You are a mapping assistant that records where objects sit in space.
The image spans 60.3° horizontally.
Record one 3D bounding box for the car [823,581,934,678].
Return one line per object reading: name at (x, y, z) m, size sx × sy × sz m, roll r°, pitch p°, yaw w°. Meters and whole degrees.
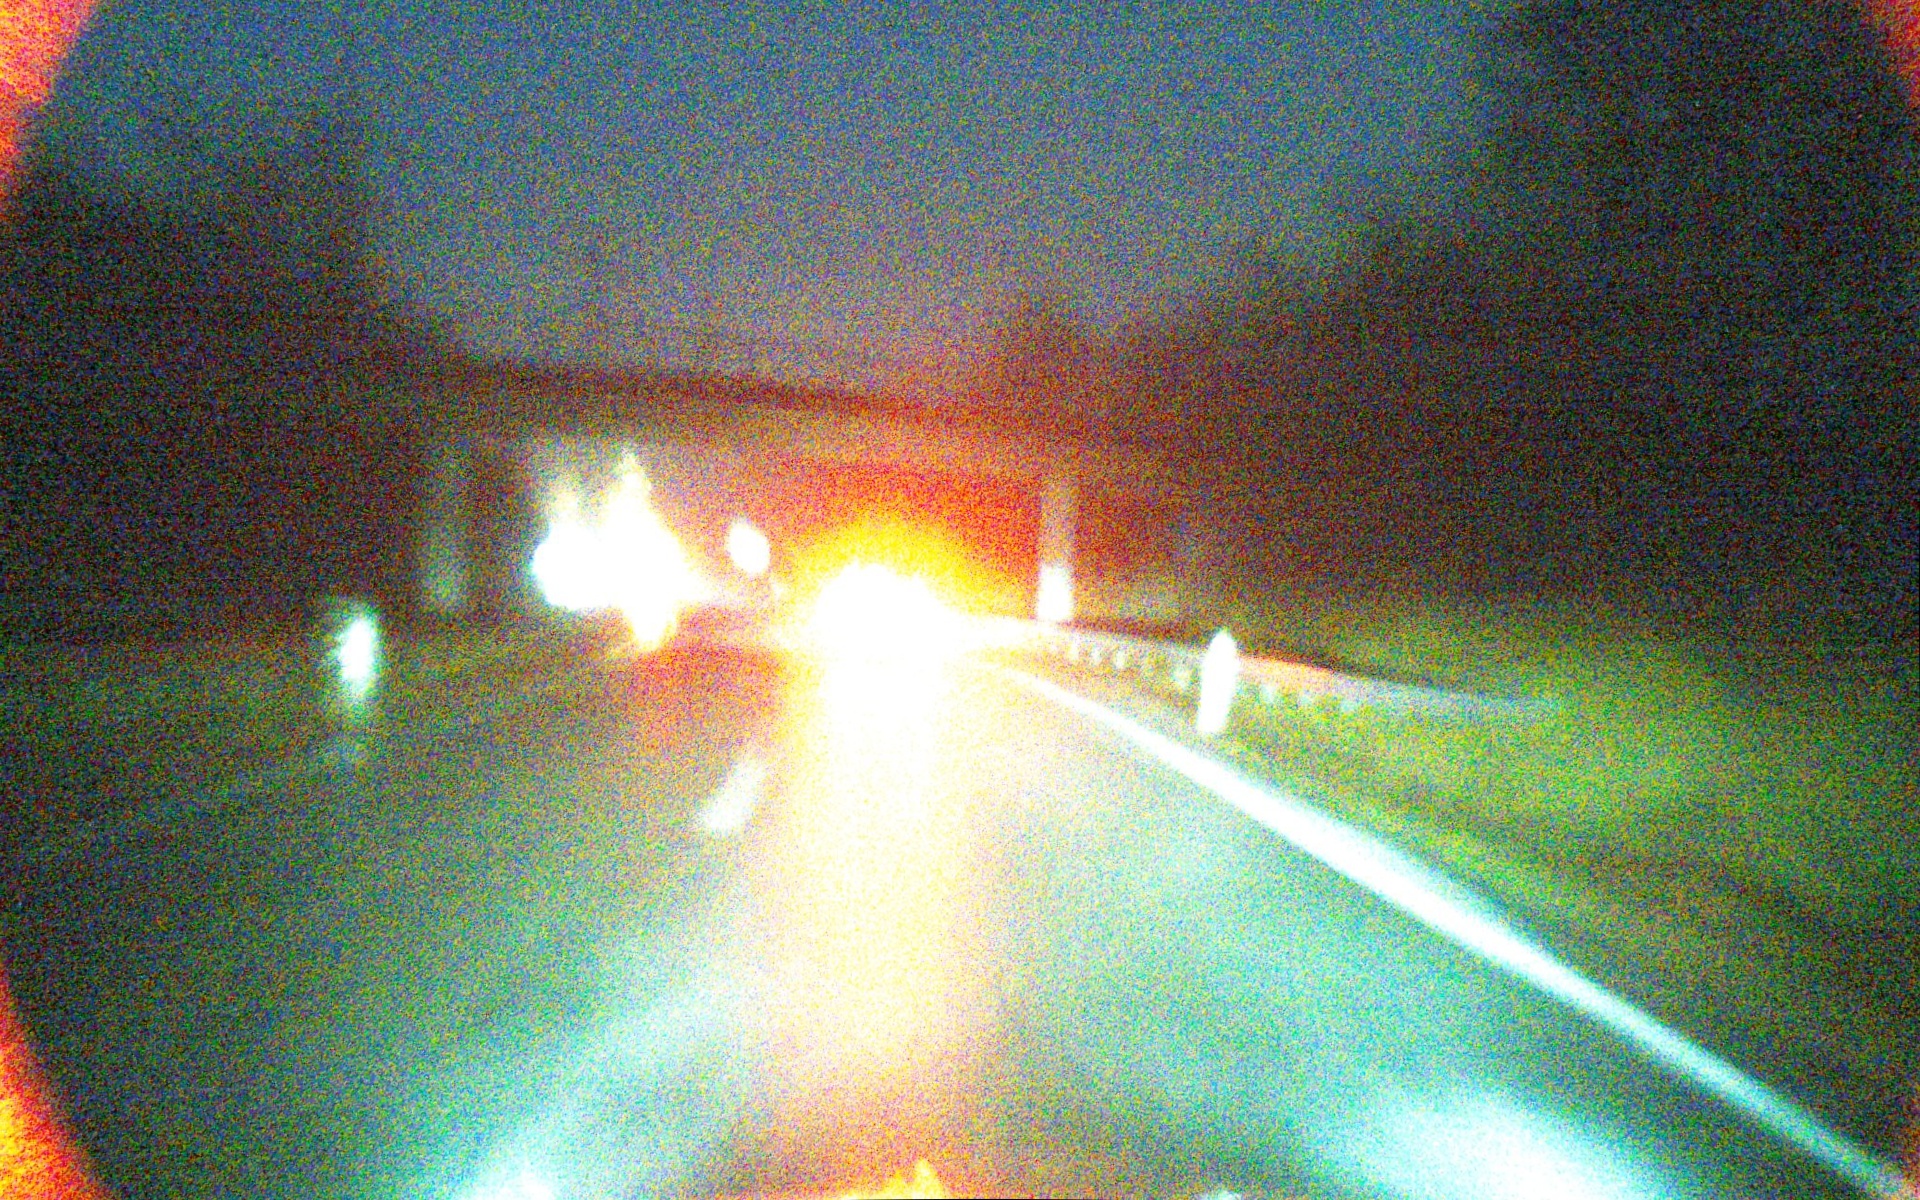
car at (-1.674, 0.511, 32.470) m, size 1.955 × 1.656 × 4.980 m, roll 1°, pitch 1°, yaw -5°
